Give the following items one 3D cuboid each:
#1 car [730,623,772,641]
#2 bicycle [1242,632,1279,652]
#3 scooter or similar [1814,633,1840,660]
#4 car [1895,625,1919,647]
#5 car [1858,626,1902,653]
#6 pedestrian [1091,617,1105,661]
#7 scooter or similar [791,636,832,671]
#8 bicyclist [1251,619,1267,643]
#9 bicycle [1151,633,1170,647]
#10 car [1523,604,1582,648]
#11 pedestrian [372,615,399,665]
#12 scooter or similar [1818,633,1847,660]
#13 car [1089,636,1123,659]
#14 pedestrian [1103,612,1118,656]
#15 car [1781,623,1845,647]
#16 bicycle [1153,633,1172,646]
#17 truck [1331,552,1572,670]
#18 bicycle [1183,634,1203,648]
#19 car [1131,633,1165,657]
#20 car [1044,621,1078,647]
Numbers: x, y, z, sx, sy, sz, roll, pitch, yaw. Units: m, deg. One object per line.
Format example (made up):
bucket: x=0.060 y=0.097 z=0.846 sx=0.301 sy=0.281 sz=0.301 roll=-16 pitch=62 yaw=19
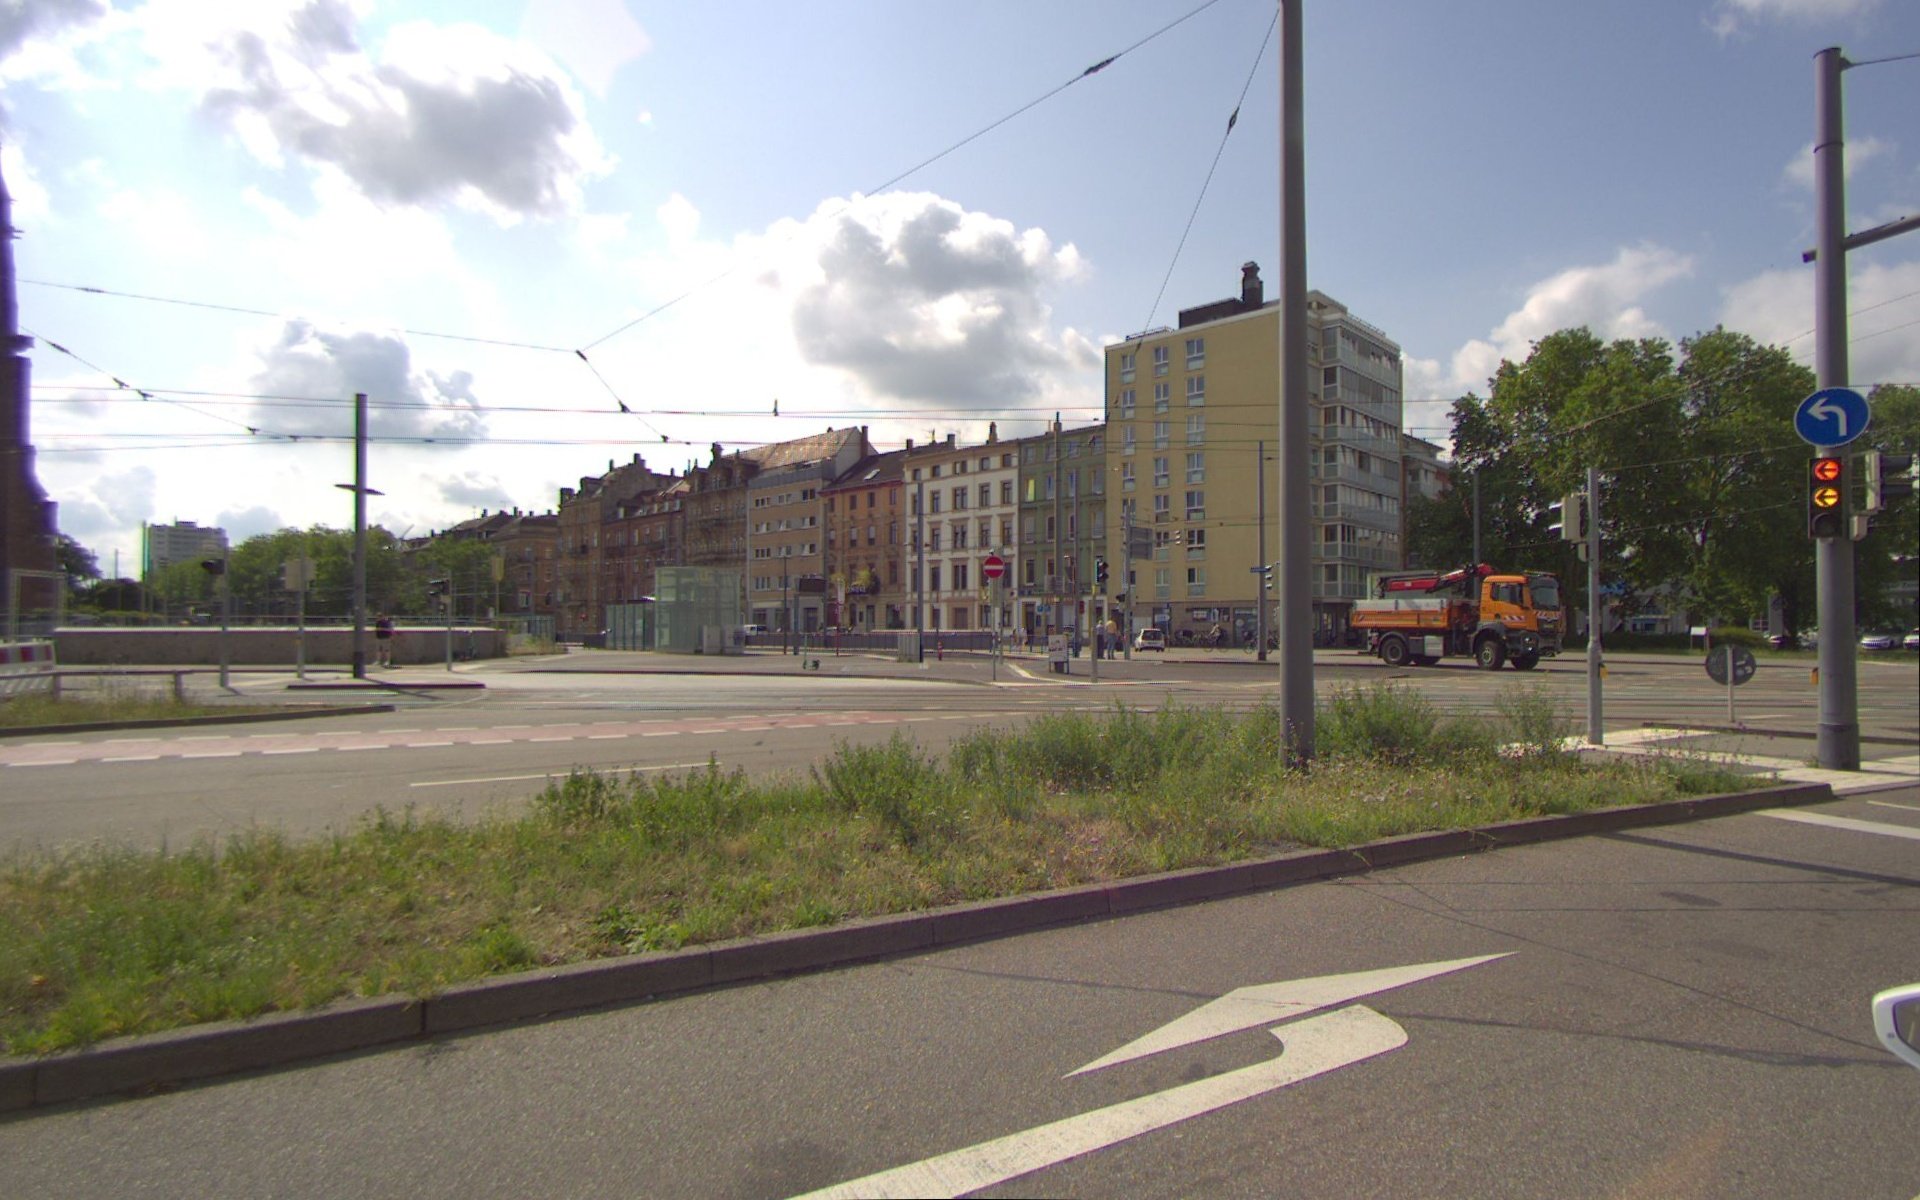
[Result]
car: x=-22.809 y=3.473 z=109.419 sx=4.680 sy=1.886 sz=1.991 roll=-2 pitch=-3 yaw=39
bicycle: x=17.056 y=2.402 z=56.993 sx=2.068 sy=1.121 sz=0.542 roll=1 pitch=-1 yaw=-19
scooter or similar: x=40.330 y=2.147 z=46.714 sx=0.374 sy=1.212 sz=1.065 roll=2 pitch=0 yaw=8
car: x=76.611 y=2.898 z=80.542 sx=3.965 sy=1.704 sz=1.772 roll=1 pitch=-2 yaw=-38
car: x=75.255 y=3.198 z=82.143 sx=3.965 sy=2.040 sz=1.978 roll=2 pitch=1 yaw=-38
pedestrian: x=6.523 y=1.849 z=47.546 sx=0.507 sy=2.040 sz=0.502 roll=-1 pitch=-1 yaw=33
scooter or similar: x=-5.068 y=1.819 z=34.282 sx=1.149 sy=1.182 sz=0.810 roll=-1 pitch=-2 yaw=35
bicyclist: x=16.942 y=1.744 z=56.935 sx=0.772 sy=1.354 sz=0.393 roll=2 pitch=0 yaw=-21
bicycle: x=14.722 y=2.933 z=73.741 sx=1.443 sy=0.935 sz=0.292 roll=1 pitch=-1 yaw=42
car: x=43.029 y=1.897 z=72.836 sx=1.973 sy=3.083 sz=7.204 roll=-1 pitch=-2 yaw=44
pedestrian: x=-21.185 y=1.467 z=37.048 sx=0.551 sy=1.818 sz=0.720 roll=0 pitch=-1 yaw=-3
scooter or similar: x=40.852 y=2.177 z=47.020 sx=0.374 sy=1.212 sz=1.064 roll=2 pitch=0 yaw=-2
car: x=9.606 y=3.131 z=66.287 sx=1.900 sy=1.479 sz=4.603 roll=0 pitch=-2 yaw=5
pedestrian: x=7.015 y=1.574 z=46.790 sx=0.568 sy=2.040 sz=0.426 roll=-1 pitch=-1 yaw=33
car: x=77.839 y=3.148 z=91.667 sx=1.972 sy=2.040 sz=3.976 roll=2 pitch=0 yaw=-24
bicycle: x=14.935 y=2.906 z=73.977 sx=1.443 sy=0.935 sz=0.292 roll=0 pitch=-1 yaw=42
truck: x=18.575 y=0.380 z=38.613 sx=2.806 sy=4.062 sz=8.001 roll=2 pitch=0 yaw=-32
bicycle: x=16.711 y=2.924 z=71.994 sx=0.291 sy=0.935 sz=1.444 roll=2 pitch=0 yaw=-45
car: x=12.044 y=2.887 z=64.651 sx=1.743 sy=1.472 sz=3.499 roll=0 pitch=-3 yaw=4
car: x=6.870 y=2.349 z=68.613 sx=2.020 sy=1.668 sz=4.598 roll=0 pitch=-3 yaw=2
